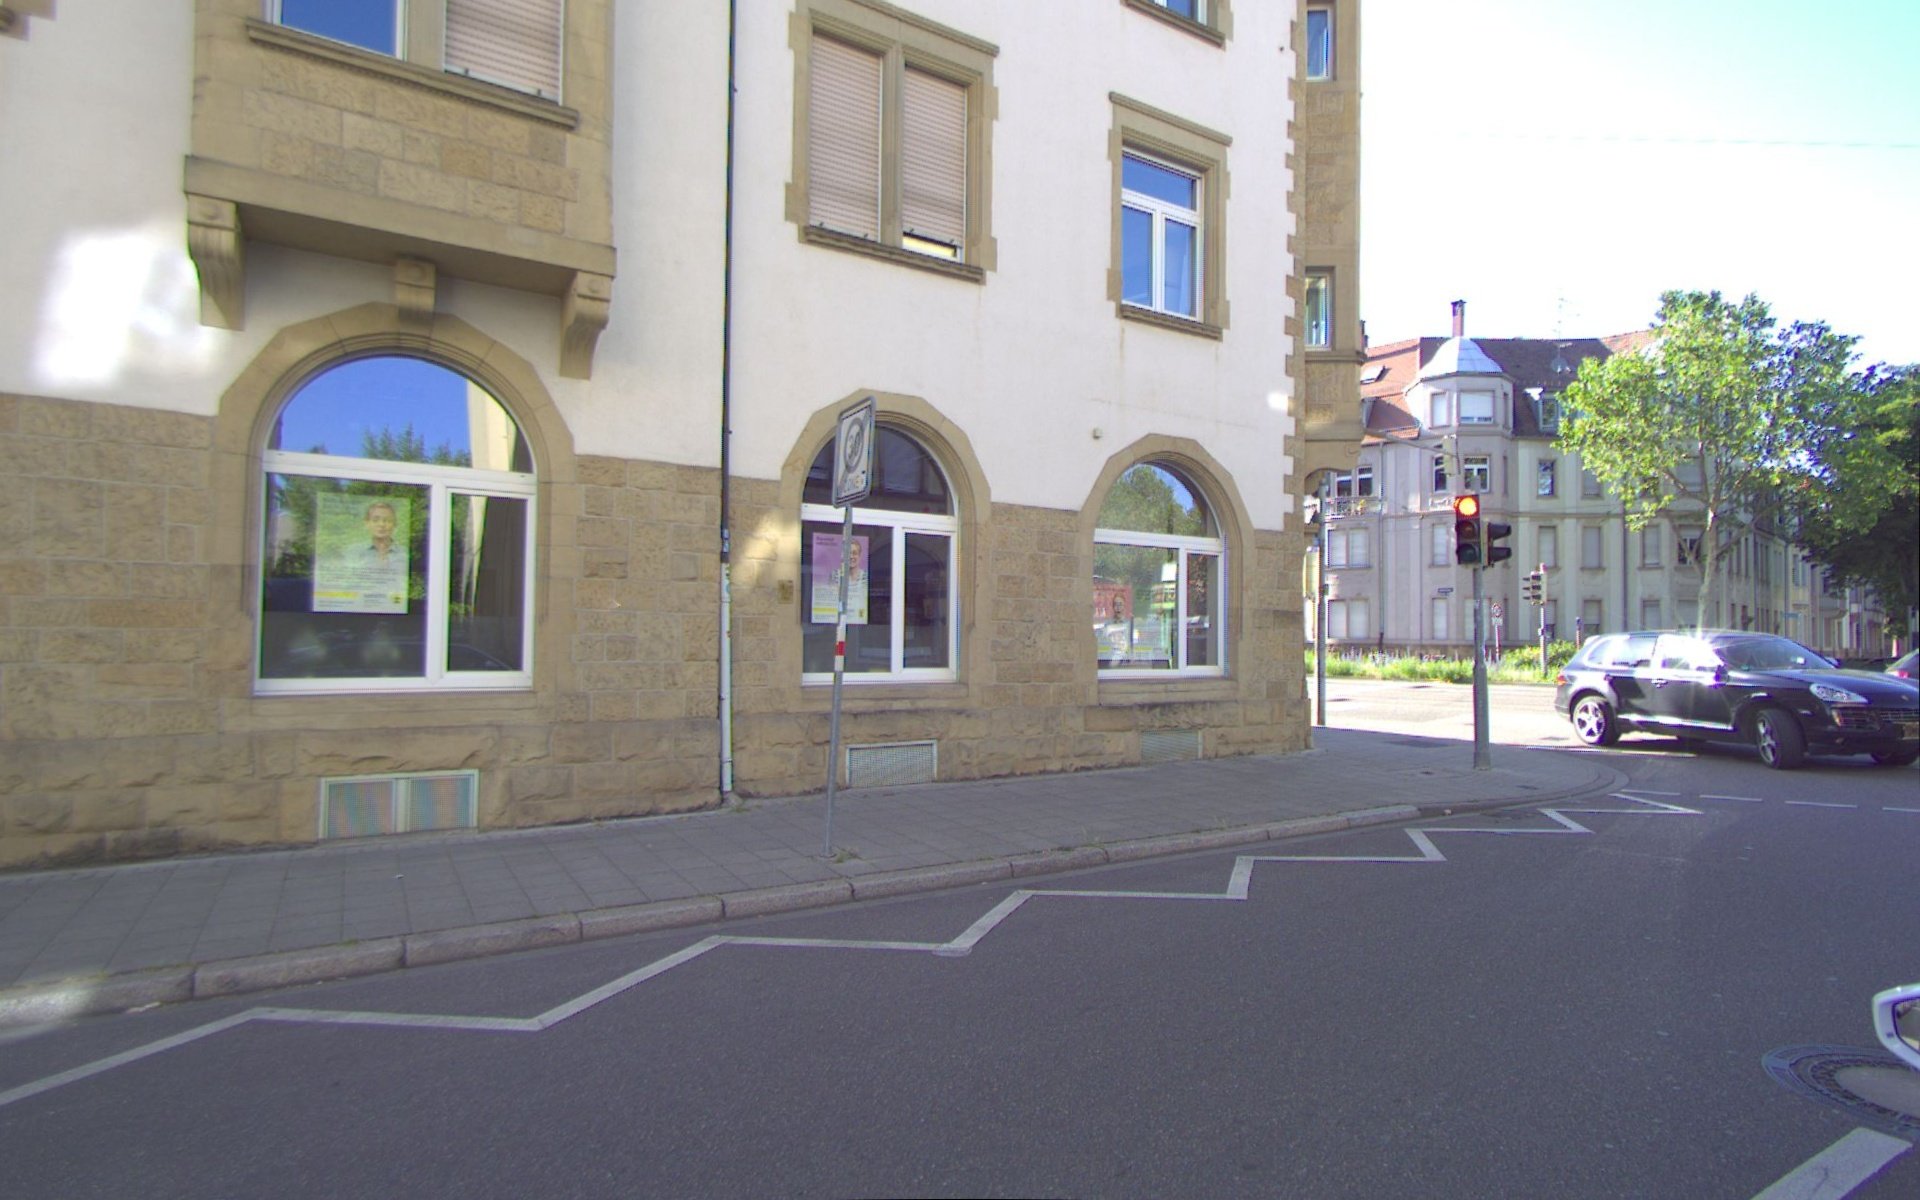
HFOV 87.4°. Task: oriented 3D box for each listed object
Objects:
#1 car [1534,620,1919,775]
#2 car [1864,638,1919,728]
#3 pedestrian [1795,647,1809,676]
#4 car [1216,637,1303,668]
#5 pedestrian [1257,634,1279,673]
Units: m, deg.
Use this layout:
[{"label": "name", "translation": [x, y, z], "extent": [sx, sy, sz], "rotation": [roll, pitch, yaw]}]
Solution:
[{"label": "car", "translation": [10.465, 1.210, 13.712], "extent": [2.042, 1.716, 4.703], "rotation": [0, -3, -9]}, {"label": "car", "translation": [17.472, 1.342, 15.872], "extent": [1.718, 1.475, 4.576], "rotation": [2, -3, -42]}, {"label": "pedestrian", "translation": [43.733, 3.212, 52.190], "extent": [0.483, 1.461, 0.701], "rotation": [2, 0, 45]}, {"label": "car", "translation": [14.439, 2.513, 48.495], "extent": [3.740, 1.419, 1.637], "rotation": [-1, -2, 43]}, {"label": "pedestrian", "translation": [16.375, 2.825, 53.435], "extent": [0.826, 2.040, 0.748], "rotation": [2, 0, 44]}]
